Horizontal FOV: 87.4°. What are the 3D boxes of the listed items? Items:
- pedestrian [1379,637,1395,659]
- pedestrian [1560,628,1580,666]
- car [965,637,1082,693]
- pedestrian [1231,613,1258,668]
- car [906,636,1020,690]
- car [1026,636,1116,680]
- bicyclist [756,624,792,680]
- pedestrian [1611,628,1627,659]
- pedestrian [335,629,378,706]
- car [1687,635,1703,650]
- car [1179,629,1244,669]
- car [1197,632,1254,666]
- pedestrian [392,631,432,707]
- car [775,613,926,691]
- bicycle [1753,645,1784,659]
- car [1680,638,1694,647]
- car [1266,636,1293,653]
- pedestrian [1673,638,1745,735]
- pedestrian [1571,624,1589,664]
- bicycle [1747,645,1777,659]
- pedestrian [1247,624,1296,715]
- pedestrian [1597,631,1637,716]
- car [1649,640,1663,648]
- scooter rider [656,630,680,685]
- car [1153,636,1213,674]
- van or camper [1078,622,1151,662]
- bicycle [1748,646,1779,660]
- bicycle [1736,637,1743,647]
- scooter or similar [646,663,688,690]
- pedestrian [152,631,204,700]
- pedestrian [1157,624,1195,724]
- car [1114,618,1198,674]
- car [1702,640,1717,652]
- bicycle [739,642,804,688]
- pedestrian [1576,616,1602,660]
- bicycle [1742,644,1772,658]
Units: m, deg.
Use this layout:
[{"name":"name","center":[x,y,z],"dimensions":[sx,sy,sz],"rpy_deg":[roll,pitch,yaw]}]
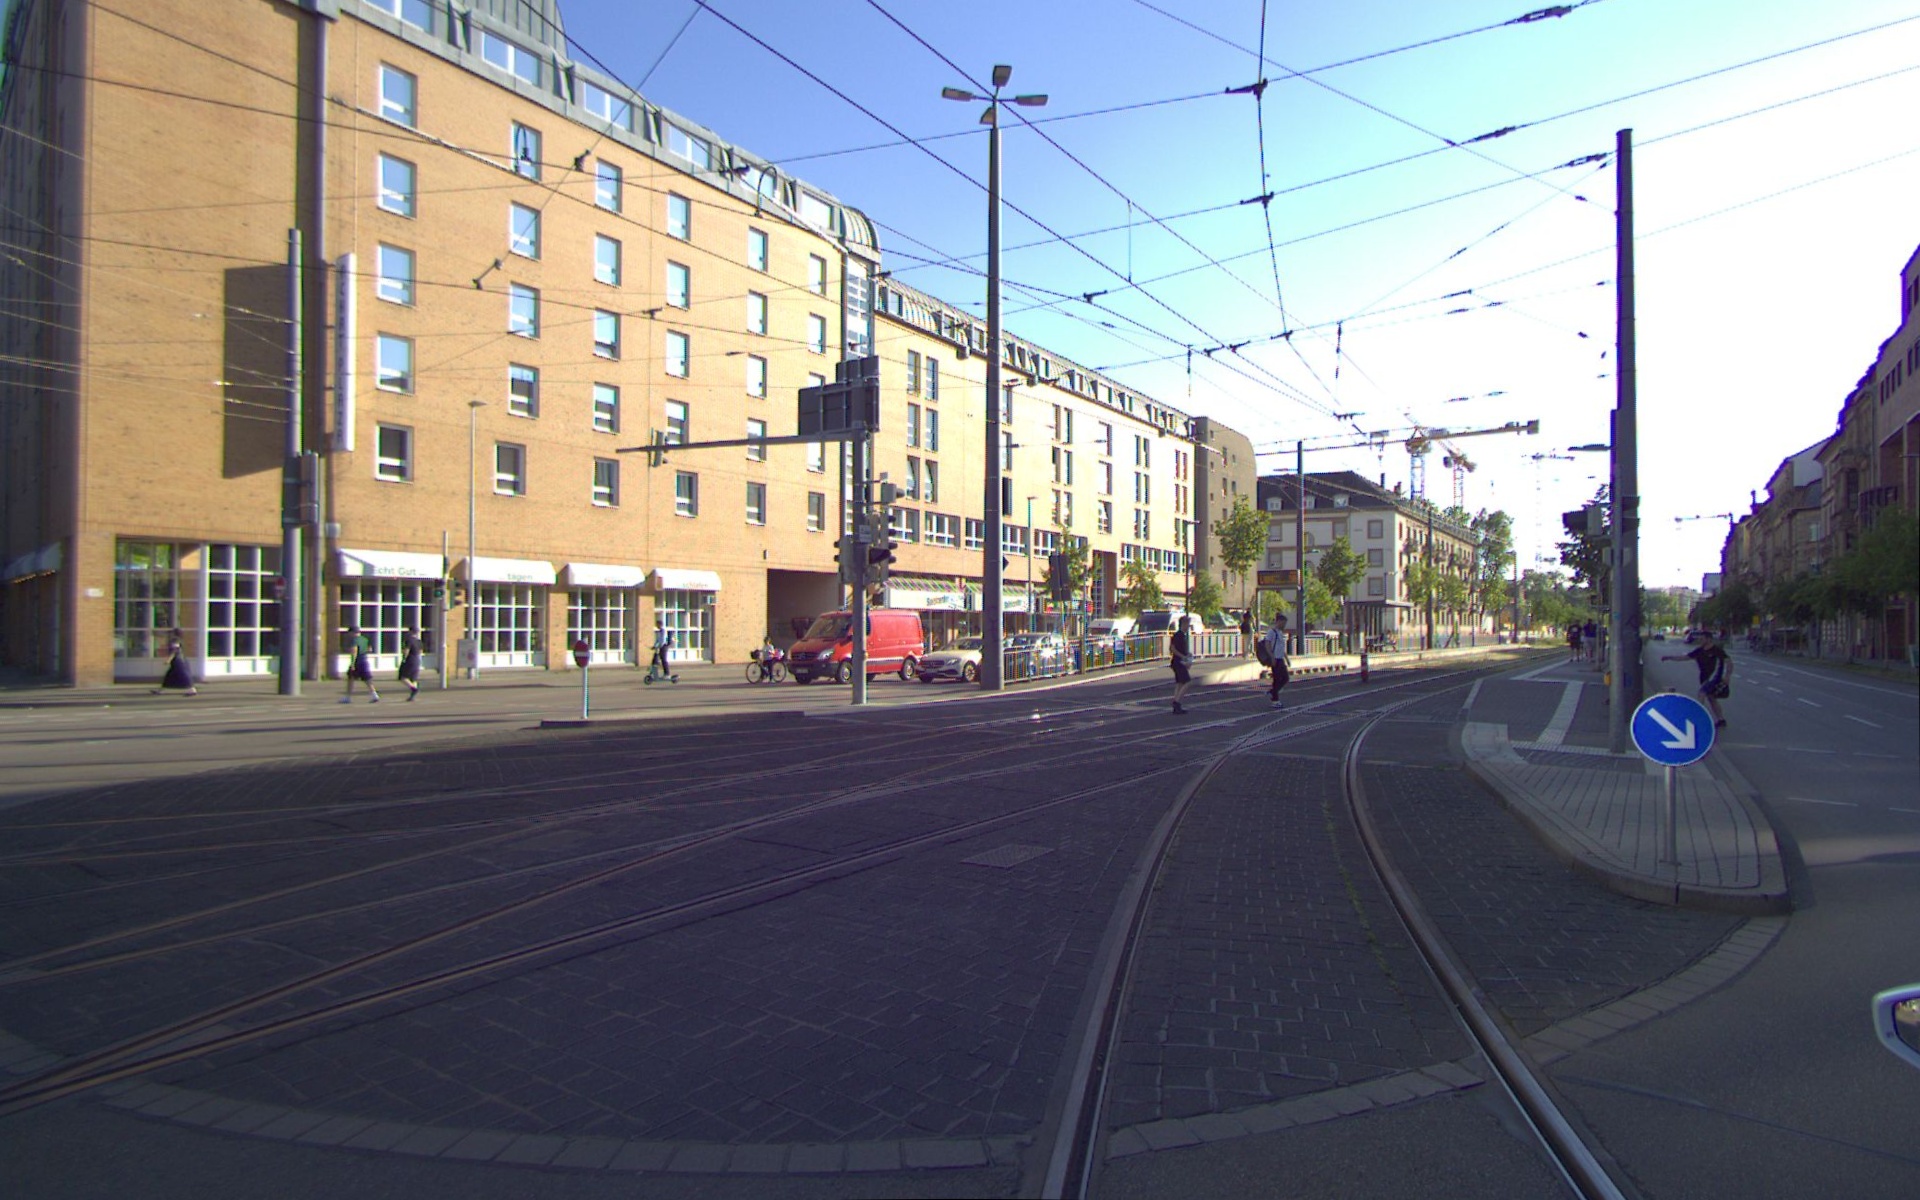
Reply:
[{"name":"pedestrian","center":[24.386,2.739,57.370],"dimensions":[0.664,1.205,0.903],"rpy_deg":[-1,-2,34]},{"name":"pedestrian","center":[24.714,1.897,40.667],"dimensions":[0.673,1.503,0.826],"rpy_deg":[0,-1,33]},{"name":"car","center":[1.950,1.855,29.619],"dimensions":[1.733,1.467,3.990],"rpy_deg":[-1,-1,32]},{"name":"pedestrian","center":[9.064,1.284,31.993],"dimensions":[0.669,1.706,0.573],"rpy_deg":[-1,-2,39]},{"name":"car","center":[0.173,1.970,32.464],"dimensions":[1.860,1.553,3.990],"rpy_deg":[-1,-1,33]},{"name":"car","center":[4.300,2.176,38.524],"dimensions":[1.860,1.553,3.990],"rpy_deg":[-1,-1,33]},{"name":"bicyclist","center":[-6.150,1.704,33.198],"dimensions":[0.804,1.810,0.813],"rpy_deg":[-1,-2,34]},{"name":"pedestrian","center":[33.801,2.227,51.536],"dimensions":[0.664,1.582,0.903],"rpy_deg":[-1,-2,34]},{"name":"pedestrian","center":[-13.878,1.546,23.126],"dimensions":[0.768,1.740,0.637],"rpy_deg":[1,-2,-27]},{"name":"car","center":[111.734,6.448,152.658],"dimensions":[1.861,1.963,4.457],"rpy_deg":[2,1,36]},{"name":"car","center":[12.957,2.467,51.645],"dimensions":[1.861,1.891,4.302],"rpy_deg":[-1,-1,34]},{"name":"car","center":[16.140,2.933,60.928],"dimensions":[1.862,1.891,4.299],"rpy_deg":[-1,-1,37]},{"name":"pedestrian","center":[-12.893,1.612,23.657],"dimensions":[0.768,1.740,0.637],"rpy_deg":[1,-2,-27]},{"name":"car","center":[-3.442,1.651,32.697],"dimensions":[2.050,2.319,5.252],"rpy_deg":[-1,-2,33]},{"name":"bicycle","center":[65.453,4.237,81.308],"dimensions":[1.799,1.078,0.662],"rpy_deg":[-4,-3,30]},{"name":"car","center":[118.778,6.960,164.177],"dimensions":[1.826,1.477,4.141],"rpy_deg":[-1,-1,36]},{"name":"car","center":[32.576,4.528,102.349],"dimensions":[1.810,1.606,4.149],"rpy_deg":[-1,-1,29]},{"name":"pedestrian","center":[12.409,1.410,16.675],"dimensions":[0.701,1.559,0.852],"rpy_deg":[0,-2,18]},{"name":"pedestrian","center":[26.620,1.869,43.123],"dimensions":[0.647,1.694,0.670],"rpy_deg":[-1,-2,33]},{"name":"bicycle","center":[65.967,4.261,82.637],"dimensions":[1.799,1.078,0.662],"rpy_deg":[-4,-3,30]},{"name":"pedestrian","center":[6.089,1.337,19.645],"dimensions":[0.773,1.740,0.633],"rpy_deg":[2,-2,-44]},{"name":"pedestrian","center":[12.415,1.372,18.979],"dimensions":[0.547,1.559,0.485],"rpy_deg":[2,-2,-41]},{"name":"car","center":[136.574,8.686,197.173],"dimensions":[1.777,1.483,3.979],"rpy_deg":[-1,-3,41]},{"name":"scooter rider","center":[-9.575,1.889,32.932],"dimensions":[0.566,1.778,0.528],"rpy_deg":[2,-2,-38]},{"name":"car","center":[12.256,2.986,55.095],"dimensions":[1.860,1.891,4.305],"rpy_deg":[-1,-1,32]},{"name":"van or camper","center":[9.286,2.442,60.008],"dimensions":[1.968,2.199,5.595],"rpy_deg":[-1,0,36]},{"name":"bicycle","center":[64.315,4.225,80.439],"dimensions":[1.799,1.078,0.662],"rpy_deg":[-4,-3,30]},{"name":"bicycle","center":[120.299,6.502,154.969],"dimensions":[0.652,1.421,2.345],"rpy_deg":[-1,-1,34]},{"name":"scooter or similar","center":[-9.582,2.493,32.860],"dimensions":[1.228,0.842,0.539],"rpy_deg":[2,-2,-37]},{"name":"pedestrian","center":[-18.361,1.526,23.593],"dimensions":[0.538,1.574,0.864],"rpy_deg":[-1,-2,43]},{"name":"pedestrian","center":[3.843,1.286,17.816],"dimensions":[0.612,1.724,0.750],"rpy_deg":[0,-2,16]},{"name":"car","center":[8.904,2.030,45.267],"dimensions":[2.018,2.389,4.906],"rpy_deg":[-1,-2,34]},{"name":"car","center":[103.236,6.361,138.354],"dimensions":[1.617,1.505,4.195],"rpy_deg":[-3,-3,37]},{"name":"bicycle","center":[-6.196,2.121,33.112],"dimensions":[0.917,1.461,2.097],"rpy_deg":[-1,-2,34]},{"name":"pedestrian","center":[24.884,1.498,39.739],"dimensions":[0.875,1.694,0.670],"rpy_deg":[-1,-2,33]},{"name":"bicycle","center":[66.616,4.285,83.978],"dimensions":[1.799,1.078,0.662],"rpy_deg":[-4,-3,30]}]
